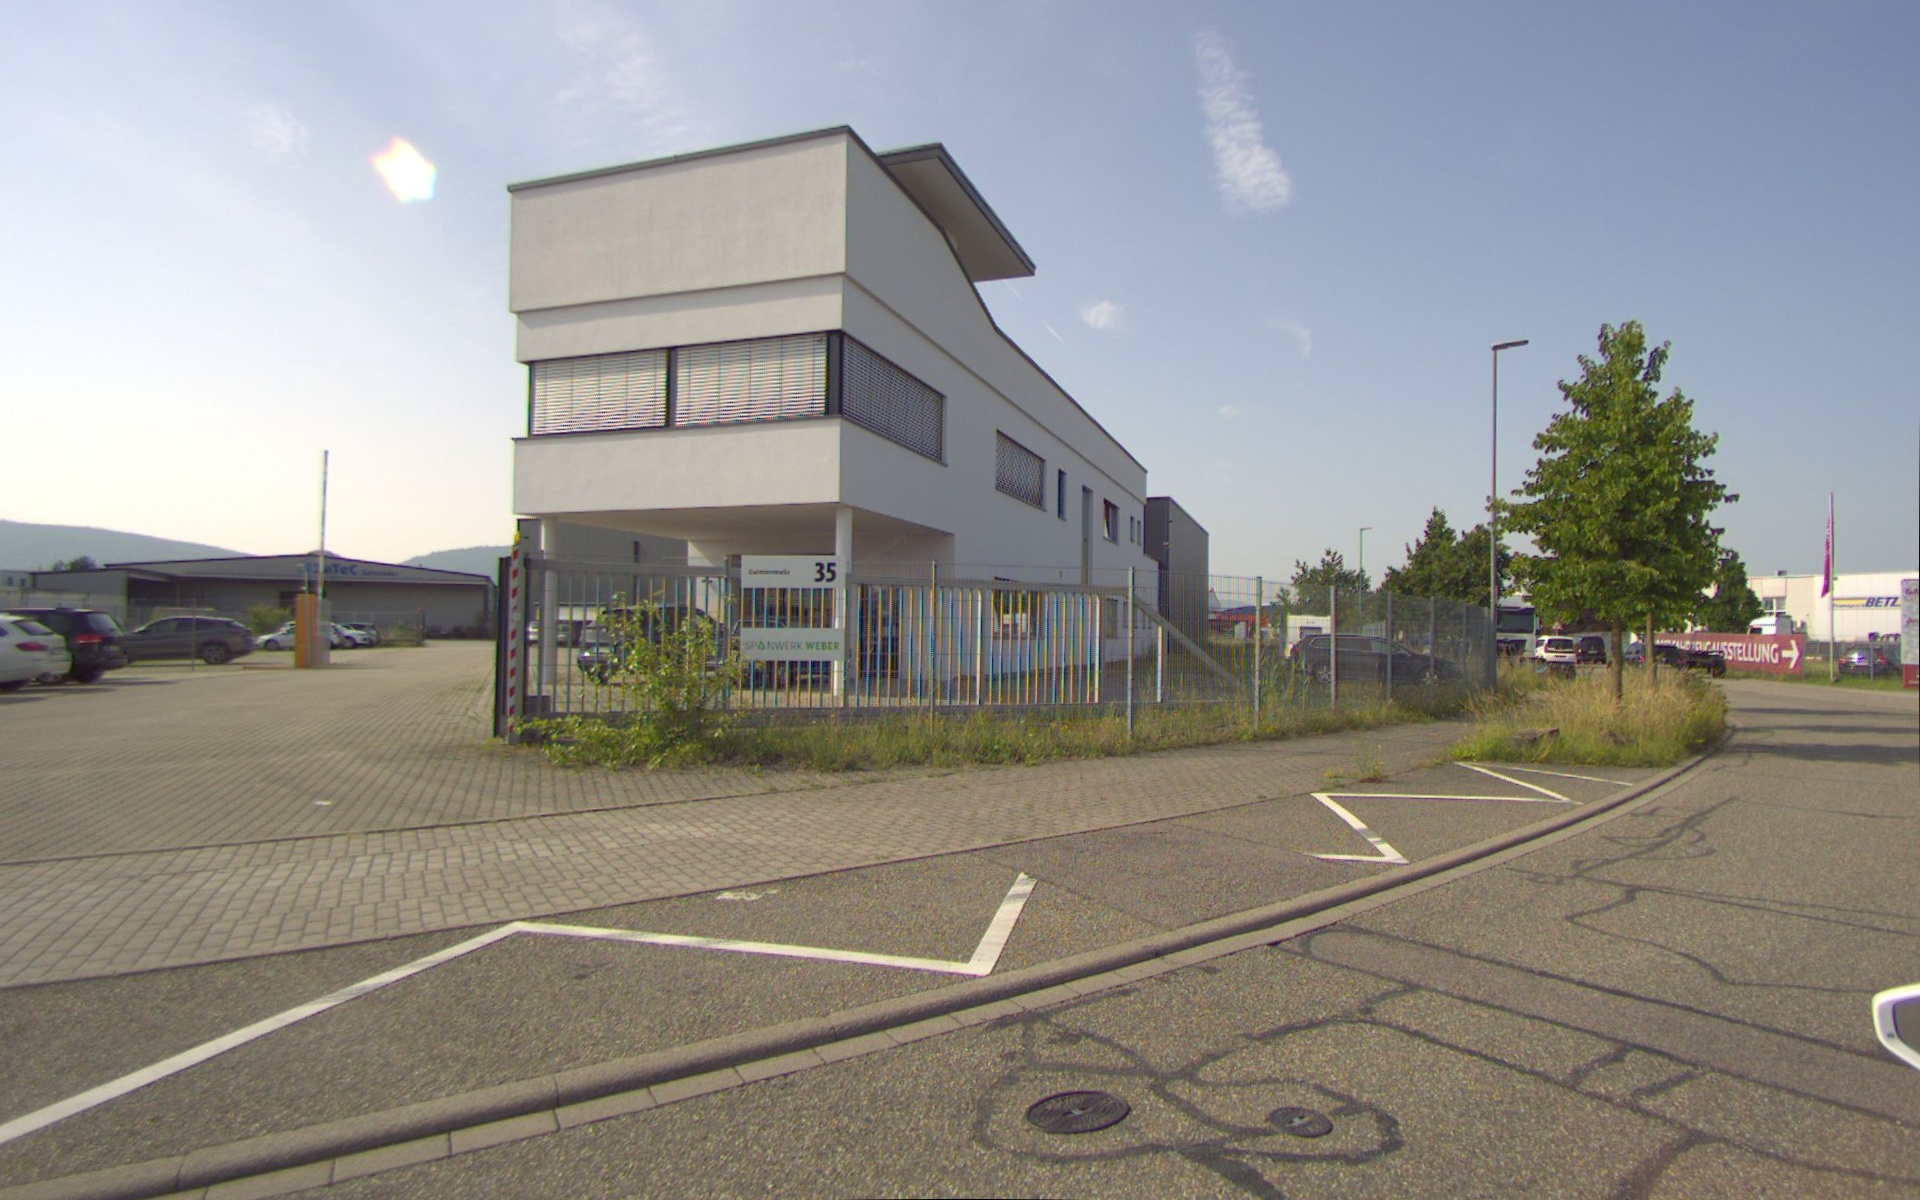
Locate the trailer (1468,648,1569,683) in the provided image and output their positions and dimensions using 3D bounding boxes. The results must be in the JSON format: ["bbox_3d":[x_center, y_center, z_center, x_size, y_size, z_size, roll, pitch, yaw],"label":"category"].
[{"bbox_3d":[21.401,2.473,38.760,2.531,1.114,5.202,0,-2,19],"label":"trailer"}]

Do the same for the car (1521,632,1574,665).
[{"bbox_3d":[36.477,2.965,62.475,1.960,1.924,4.469,0,-1,18],"label":"car"}]

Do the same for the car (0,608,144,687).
[{"bbox_3d":[-20.395,0.992,21.300,4.418,1.625,1.929,1,-1,-26],"label":"car"}]

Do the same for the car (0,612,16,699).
[{"bbox_3d":[-18.551,0.939,16.230,4.418,1.514,1.827,1,-1,-26],"label":"car"}]

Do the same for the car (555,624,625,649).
[{"bbox_3d":[-22.805,2.235,62.023,1.636,1.461,3.946,0,-2,28],"label":"car"}]

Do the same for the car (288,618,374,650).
[{"bbox_3d":[-36.636,1.974,58.615,3.940,1.792,1.863,1,-2,-21],"label":"car"}]

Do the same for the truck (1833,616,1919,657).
[{"bbox_3d":[60.234,2.373,65.076,7.891,2.504,2.444,2,-1,-24],"label":"truck"}]

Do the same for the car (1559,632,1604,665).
[{"bbox_3d":[41.384,3.200,66.987,1.789,2.004,3.999,-3,-2,22],"label":"car"}]

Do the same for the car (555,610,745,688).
[{"bbox_3d":[-6.551,1.020,21.701,1.832,1.507,4.000,0,-2,21],"label":"car"}]

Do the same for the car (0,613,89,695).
[{"bbox_3d":[-19.378,1.001,18.682,4.418,1.514,1.929,1,-1,-26],"label":"car"}]

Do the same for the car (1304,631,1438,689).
[{"bbox_3d":[11.751,1.684,28.940,3.434,1.473,1.597,1,-1,18],"label":"car"}]

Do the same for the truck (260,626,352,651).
[{"bbox_3d":[-36.265,2.162,55.821,3.940,1.327,1.863,1,-2,-21],"label":"truck"}]

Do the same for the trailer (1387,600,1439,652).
[{"bbox_3d":[41.062,2.406,91.437,3.348,4.397,13.920,0,-2,20],"label":"trailer"}]

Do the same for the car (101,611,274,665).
[{"bbox_3d":[-26.489,1.317,34.644,4.400,1.750,1.975,2,-2,-29],"label":"car"}]

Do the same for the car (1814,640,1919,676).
[{"bbox_3d":[39.964,2.509,43.805,3.928,1.496,2.169,1,-2,-9],"label":"car"}]

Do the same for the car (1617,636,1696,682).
[{"bbox_3d":[29.683,2.462,42.926,1.961,1.828,3.999,0,-2,22],"label":"car"}]

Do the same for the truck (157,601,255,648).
[{"bbox_3d":[-42.394,1.396,56.575,3.939,2.547,1.991,1,-2,-20],"label":"truck"}]

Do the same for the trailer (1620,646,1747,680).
[{"bbox_3d":[35.829,3.083,50.193,2.580,1.406,9.455,-2,-3,20],"label":"trailer"}]

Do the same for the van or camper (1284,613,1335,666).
[{"bbox_3d":[17.995,2.033,51.946,2.266,2.594,4.956,0,-2,17],"label":"van or camper"}]

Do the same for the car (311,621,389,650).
[{"bbox_3d":[-38.854,2.271,64.104,3.940,1.792,1.863,1,-2,-21],"label":"car"}]

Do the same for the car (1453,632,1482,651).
[{"bbox_3d":[48.696,3.978,96.462,1.961,1.795,4.001,1,-2,20],"label":"car"}]

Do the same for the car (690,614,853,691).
[{"bbox_3d":[-3.820,1.057,21.072,1.532,1.434,3.921,0,-2,20],"label":"car"}]

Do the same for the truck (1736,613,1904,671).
[{"bbox_3d":[63.106,2.988,74.082,2.426,4.025,9.252,1,-1,-26],"label":"truck"}]

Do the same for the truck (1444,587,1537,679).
[{"bbox_3d":[26.205,1.643,50.181,2.583,3.980,12.918,1,-2,21],"label":"truck"}]
